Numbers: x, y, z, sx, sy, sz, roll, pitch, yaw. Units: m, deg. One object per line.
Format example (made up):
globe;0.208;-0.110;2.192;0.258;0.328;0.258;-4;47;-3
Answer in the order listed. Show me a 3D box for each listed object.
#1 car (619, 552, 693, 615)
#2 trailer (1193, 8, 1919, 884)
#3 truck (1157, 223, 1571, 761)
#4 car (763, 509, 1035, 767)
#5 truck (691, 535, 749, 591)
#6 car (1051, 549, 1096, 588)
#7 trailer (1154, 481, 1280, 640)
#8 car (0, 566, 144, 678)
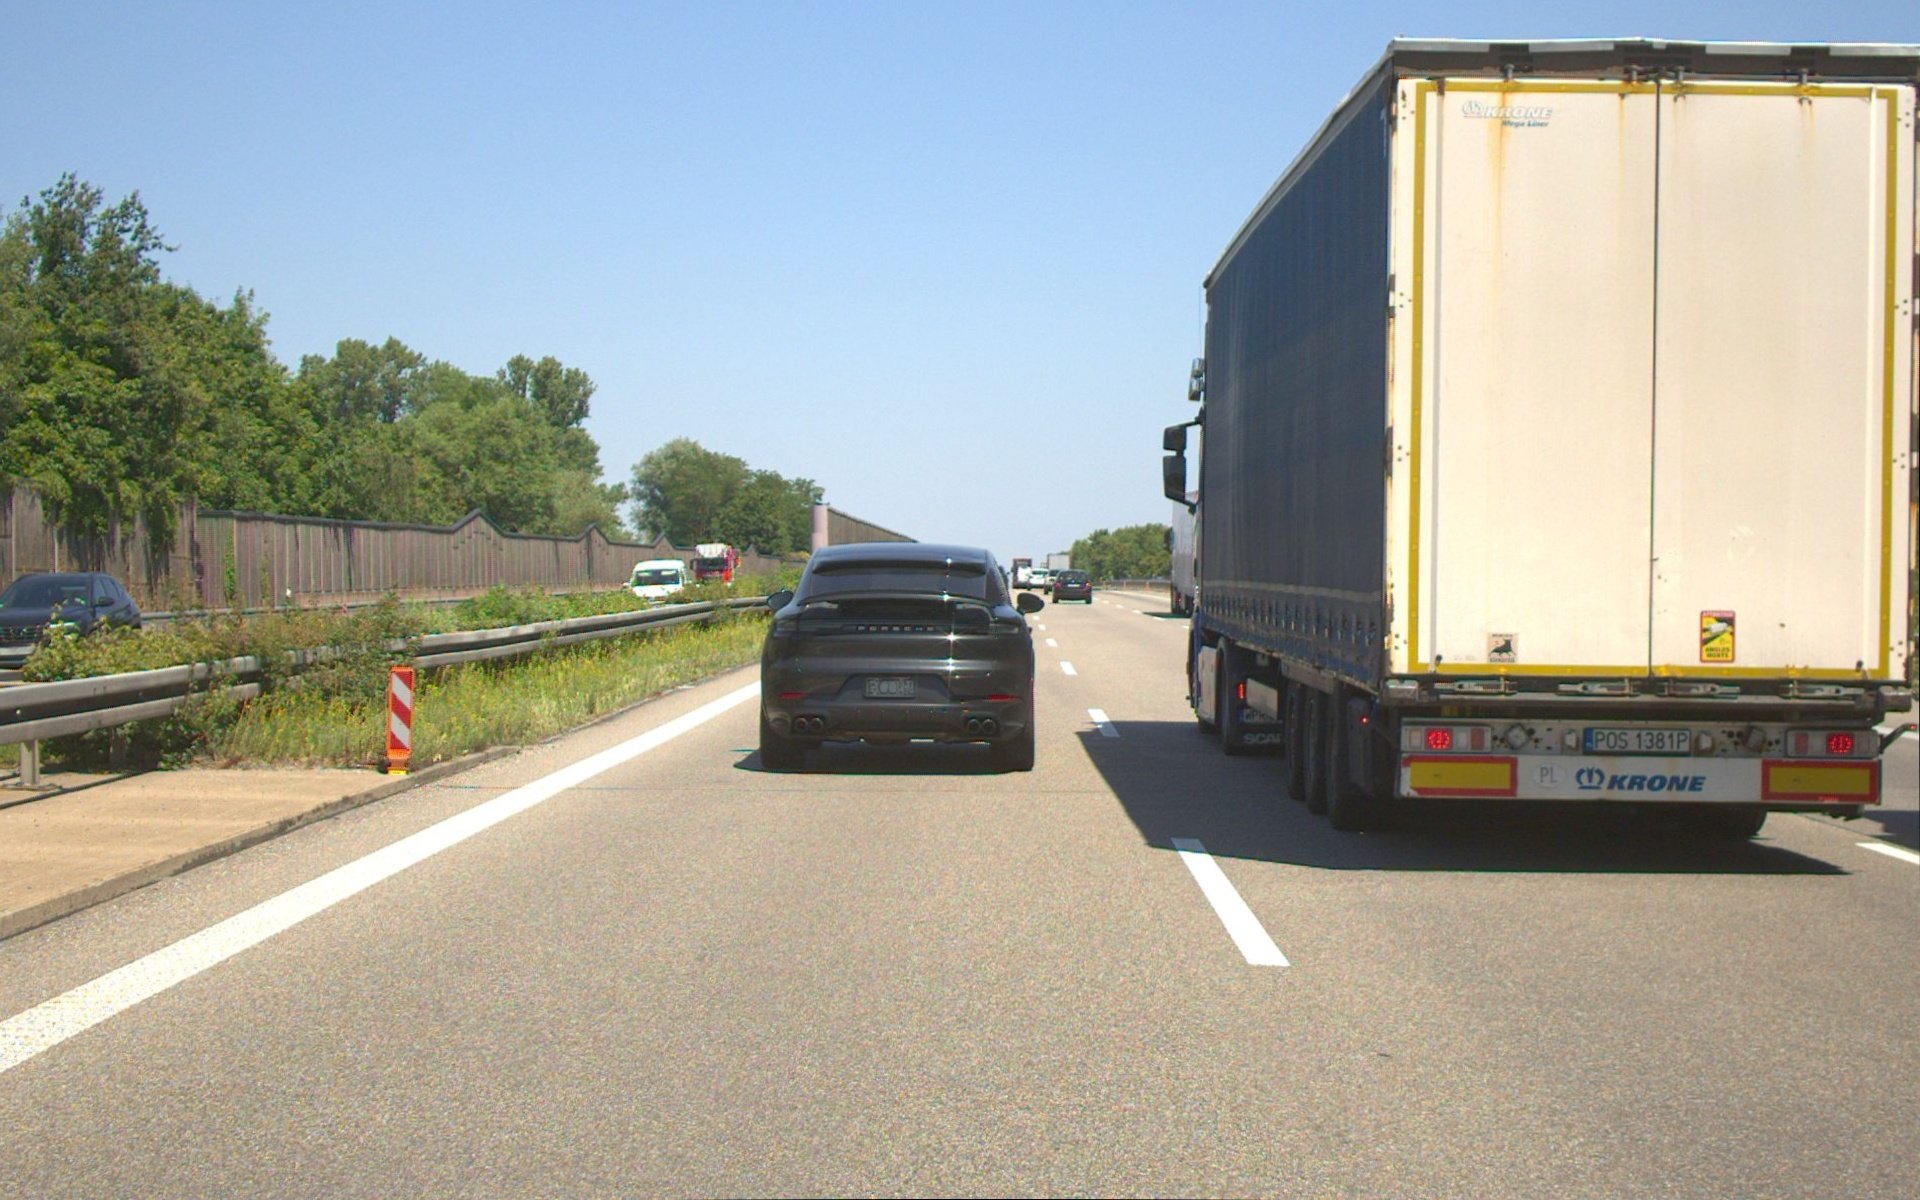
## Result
car;-9.112;-0.521;103.371;1.782;1.834;4.559;-1;1;0
trailer;3.316;-0.787;22.310;2.700;4.104;12.132;1;1;0
truck;3.309;-0.864;29.940;2.700;4.104;6.991;1;1;0
car;-0.446;0.239;25.915;1.880;1.786;4.000;0;1;-1
truck;-15.471;-2.395;222.343;2.700;3.480;10.854;1;1;1
car;4.923;-1.357;149.652;1.903;1.578;4.304;0;0;1
trailer;8.259;-1.287;112.100;3.269;4.821;14.028;1;1;1
car;-14.489;0.309;54.871;1.880;1.686;4.549;0;1;-1
